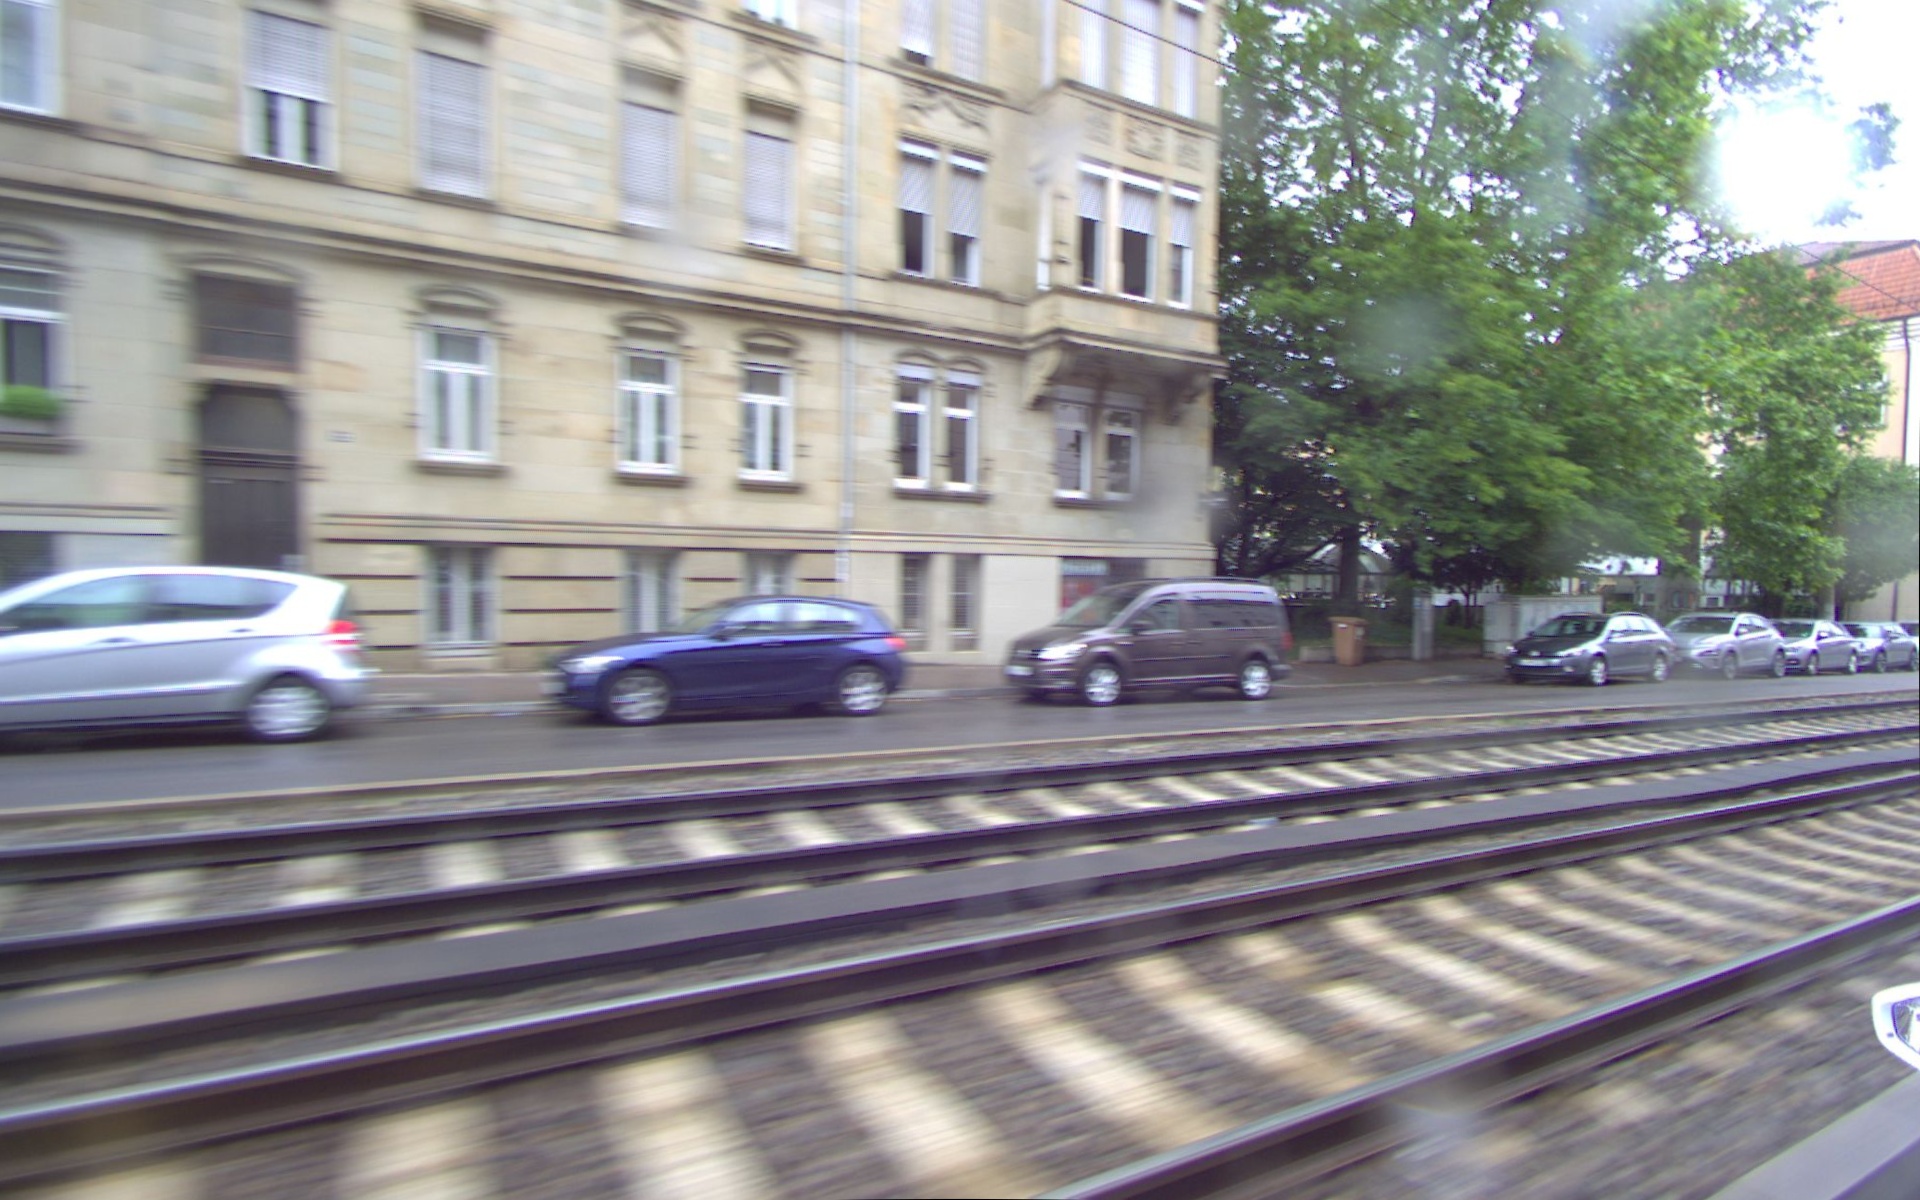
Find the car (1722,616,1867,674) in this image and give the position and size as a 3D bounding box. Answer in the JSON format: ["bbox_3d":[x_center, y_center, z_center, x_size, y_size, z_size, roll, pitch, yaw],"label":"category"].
[{"bbox_3d":[22.330,1.189,26.845,4.106,1.432,1.745,1,-2,-31],"label":"car"}]

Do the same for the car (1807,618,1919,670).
[{"bbox_3d":[26.407,1.267,29.248,3.908,1.432,1.531,1,-2,-31],"label":"car"}]

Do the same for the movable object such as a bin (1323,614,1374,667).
[{"bbox_3d":[8.806,0.915,22.780,0.763,1.135,0.714,1,1,-28],"label":"movable object such as a bin"}]

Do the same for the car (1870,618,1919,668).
[{"bbox_3d":[30.605,1.351,31.822,4.107,1.525,1.531,1,-2,-31],"label":"car"}]

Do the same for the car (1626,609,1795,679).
[{"bbox_3d":[18.156,1.036,24.265,4.491,1.556,1.745,1,-2,-31],"label":"car"}]

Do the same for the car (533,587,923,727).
[{"bbox_3d":[-2.701,0.627,12.015,4.222,1.416,1.753,1,-1,-32],"label":"car"}]

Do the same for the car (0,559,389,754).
[{"bbox_3d":[-7.374,0.468,9.081,3.809,1.544,1.687,1,-1,-30],"label":"car"}]

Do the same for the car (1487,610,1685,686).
[{"bbox_3d":[13.408,1.000,21.457,4.500,1.483,1.839,2,-2,-32],"label":"car"}]

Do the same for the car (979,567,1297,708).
[{"bbox_3d":[2.777,0.557,15.298,4.762,1.871,1.792,1,-1,-31],"label":"car"}]
